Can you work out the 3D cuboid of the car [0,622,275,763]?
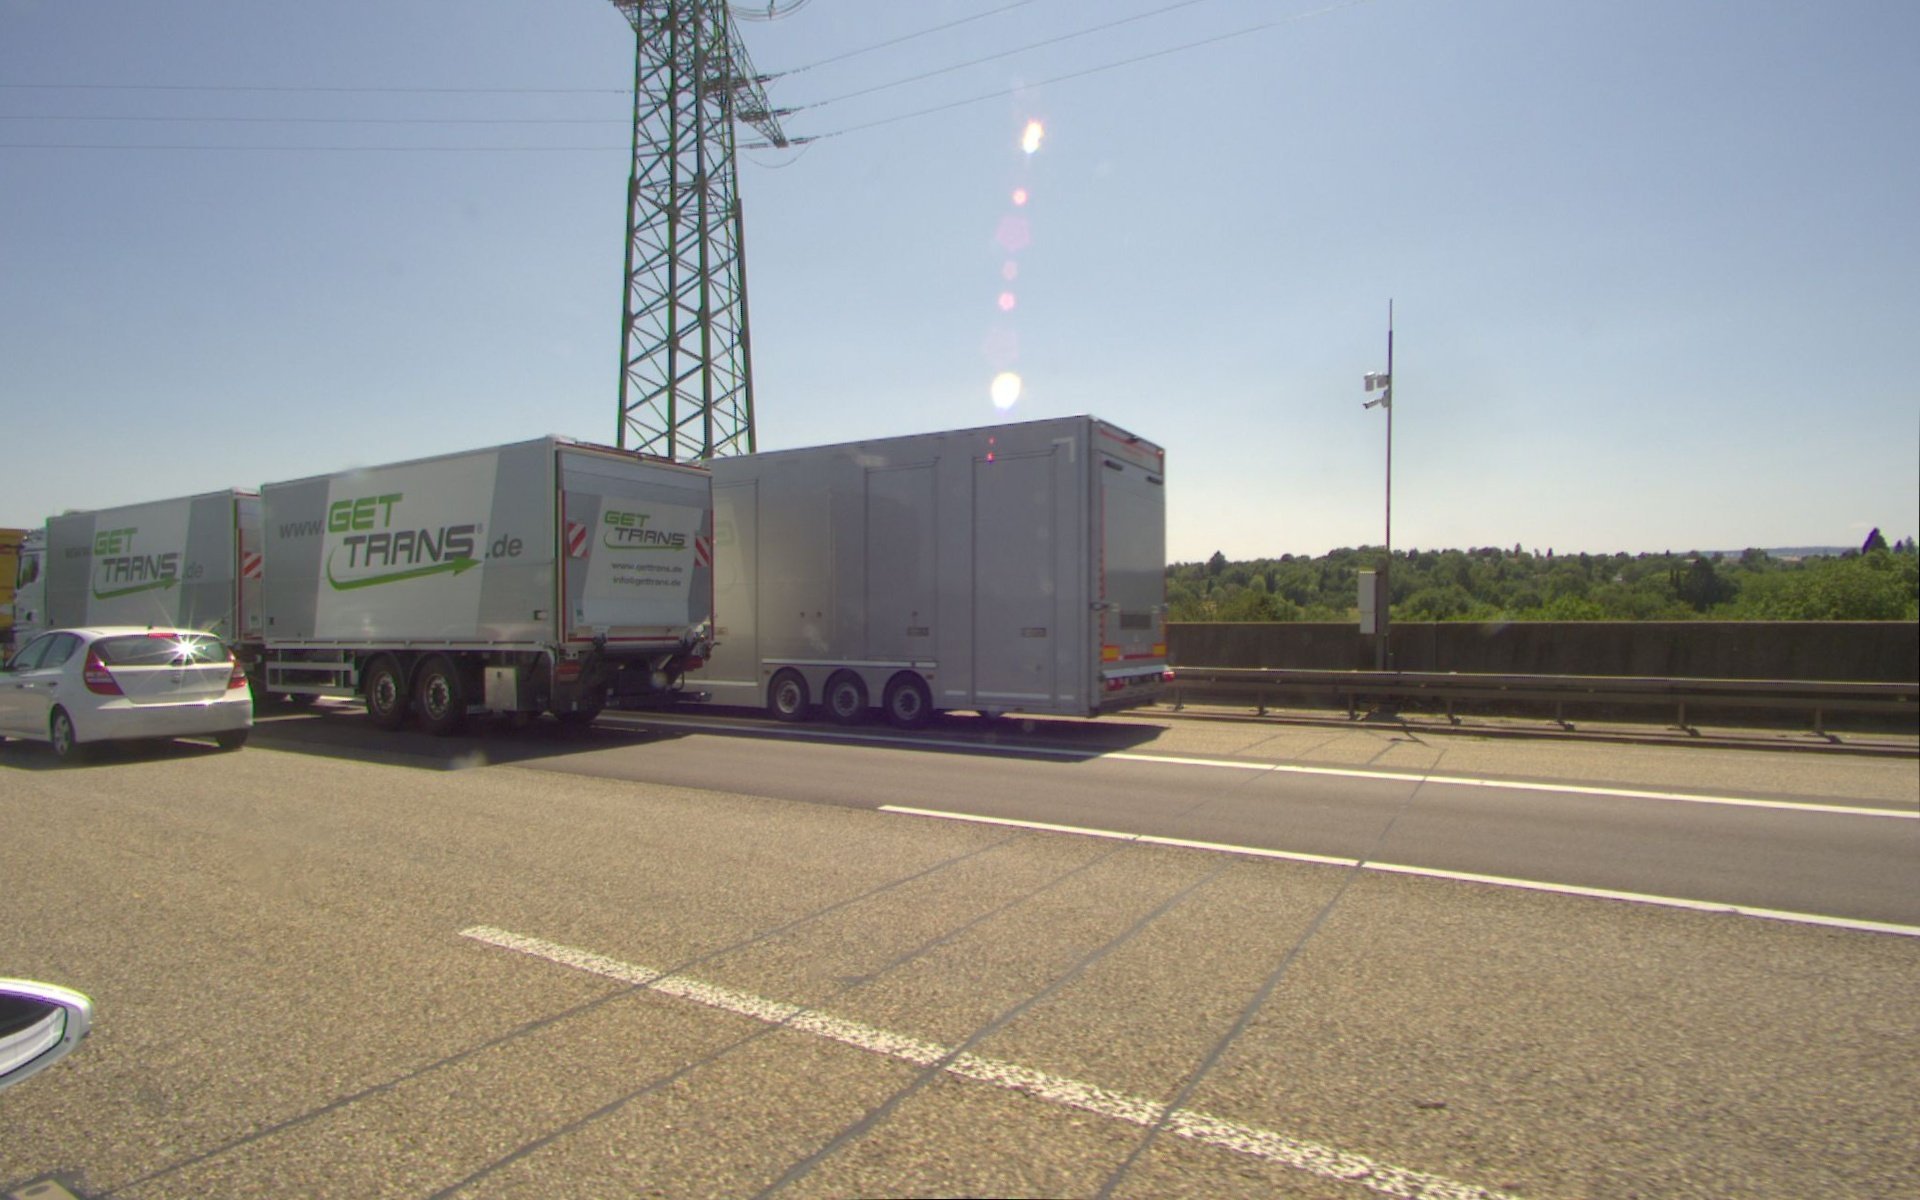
[{"bbox_3d":[-10.497,1.018,12.419,4.232,1.474,1.785,-1,-1,32],"label":"car"}]

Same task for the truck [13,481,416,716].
[{"bbox_3d":[-15.081,0.055,19.787,10.851,3.695,2.652,-1,-1,32],"label":"truck"}]

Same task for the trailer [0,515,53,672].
[{"bbox_3d":[-30.164,-0.102,29.484,8.883,4.293,2.860,-1,-2,32],"label":"trailer"}]

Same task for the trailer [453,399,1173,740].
[{"bbox_3d":[-3.358,-0.250,16.898,13.573,4.172,2.532,-1,-2,32],"label":"trailer"}]

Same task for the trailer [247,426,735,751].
[{"bbox_3d":[-7.150,-0.074,14.787,7.899,3.748,2.693,-1,-1,32],"label":"trailer"}]
